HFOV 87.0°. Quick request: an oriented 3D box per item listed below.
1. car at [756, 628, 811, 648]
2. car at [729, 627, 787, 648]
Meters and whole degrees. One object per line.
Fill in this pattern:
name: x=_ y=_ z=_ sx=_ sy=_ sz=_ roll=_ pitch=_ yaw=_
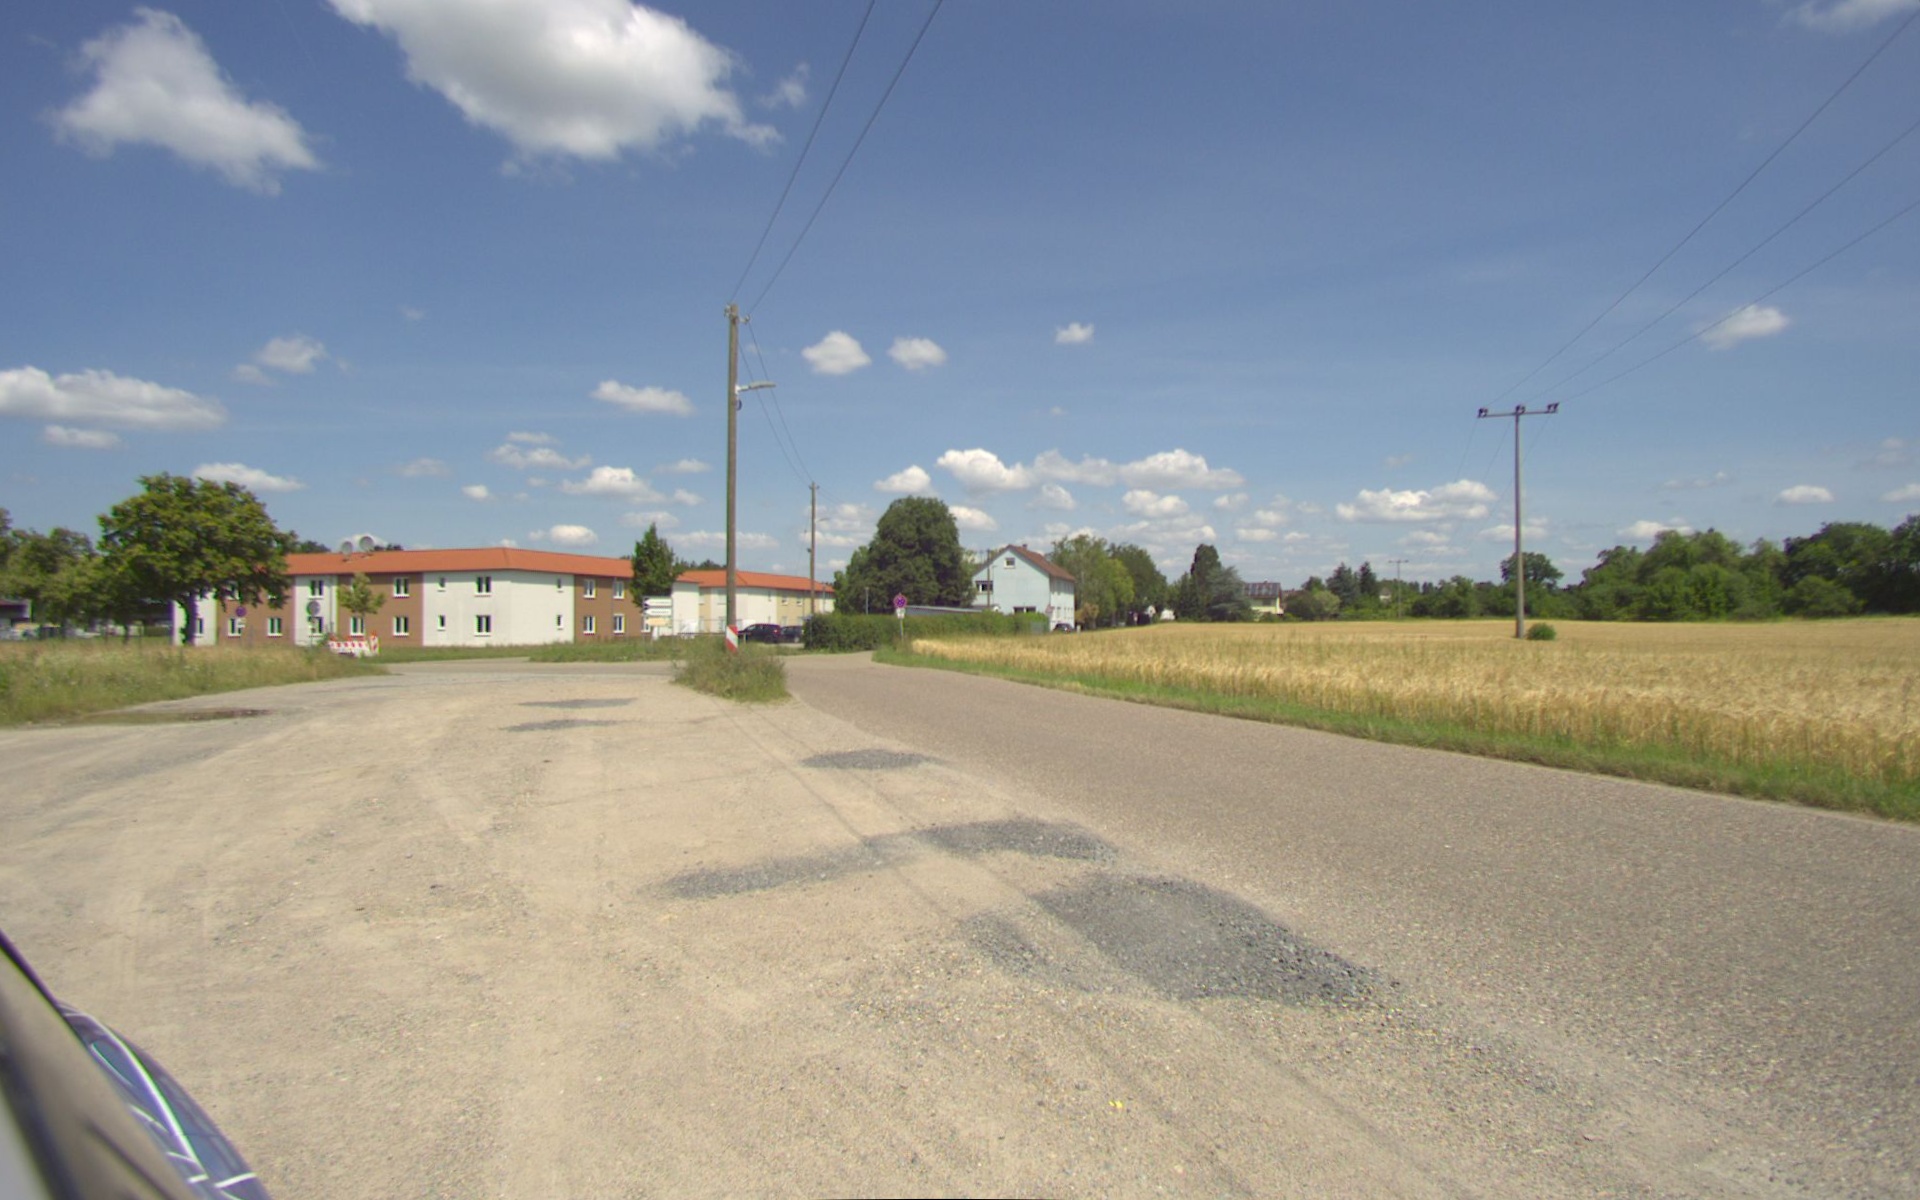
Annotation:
car: x=-14.658 y=3.153 z=84.063 sx=4.110 sy=1.627 sz=1.990 roll=-1 pitch=-2 yaw=15
car: x=-16.019 y=2.996 z=80.383 sx=4.110 sy=1.627 sz=1.990 roll=-1 pitch=-2 yaw=15
